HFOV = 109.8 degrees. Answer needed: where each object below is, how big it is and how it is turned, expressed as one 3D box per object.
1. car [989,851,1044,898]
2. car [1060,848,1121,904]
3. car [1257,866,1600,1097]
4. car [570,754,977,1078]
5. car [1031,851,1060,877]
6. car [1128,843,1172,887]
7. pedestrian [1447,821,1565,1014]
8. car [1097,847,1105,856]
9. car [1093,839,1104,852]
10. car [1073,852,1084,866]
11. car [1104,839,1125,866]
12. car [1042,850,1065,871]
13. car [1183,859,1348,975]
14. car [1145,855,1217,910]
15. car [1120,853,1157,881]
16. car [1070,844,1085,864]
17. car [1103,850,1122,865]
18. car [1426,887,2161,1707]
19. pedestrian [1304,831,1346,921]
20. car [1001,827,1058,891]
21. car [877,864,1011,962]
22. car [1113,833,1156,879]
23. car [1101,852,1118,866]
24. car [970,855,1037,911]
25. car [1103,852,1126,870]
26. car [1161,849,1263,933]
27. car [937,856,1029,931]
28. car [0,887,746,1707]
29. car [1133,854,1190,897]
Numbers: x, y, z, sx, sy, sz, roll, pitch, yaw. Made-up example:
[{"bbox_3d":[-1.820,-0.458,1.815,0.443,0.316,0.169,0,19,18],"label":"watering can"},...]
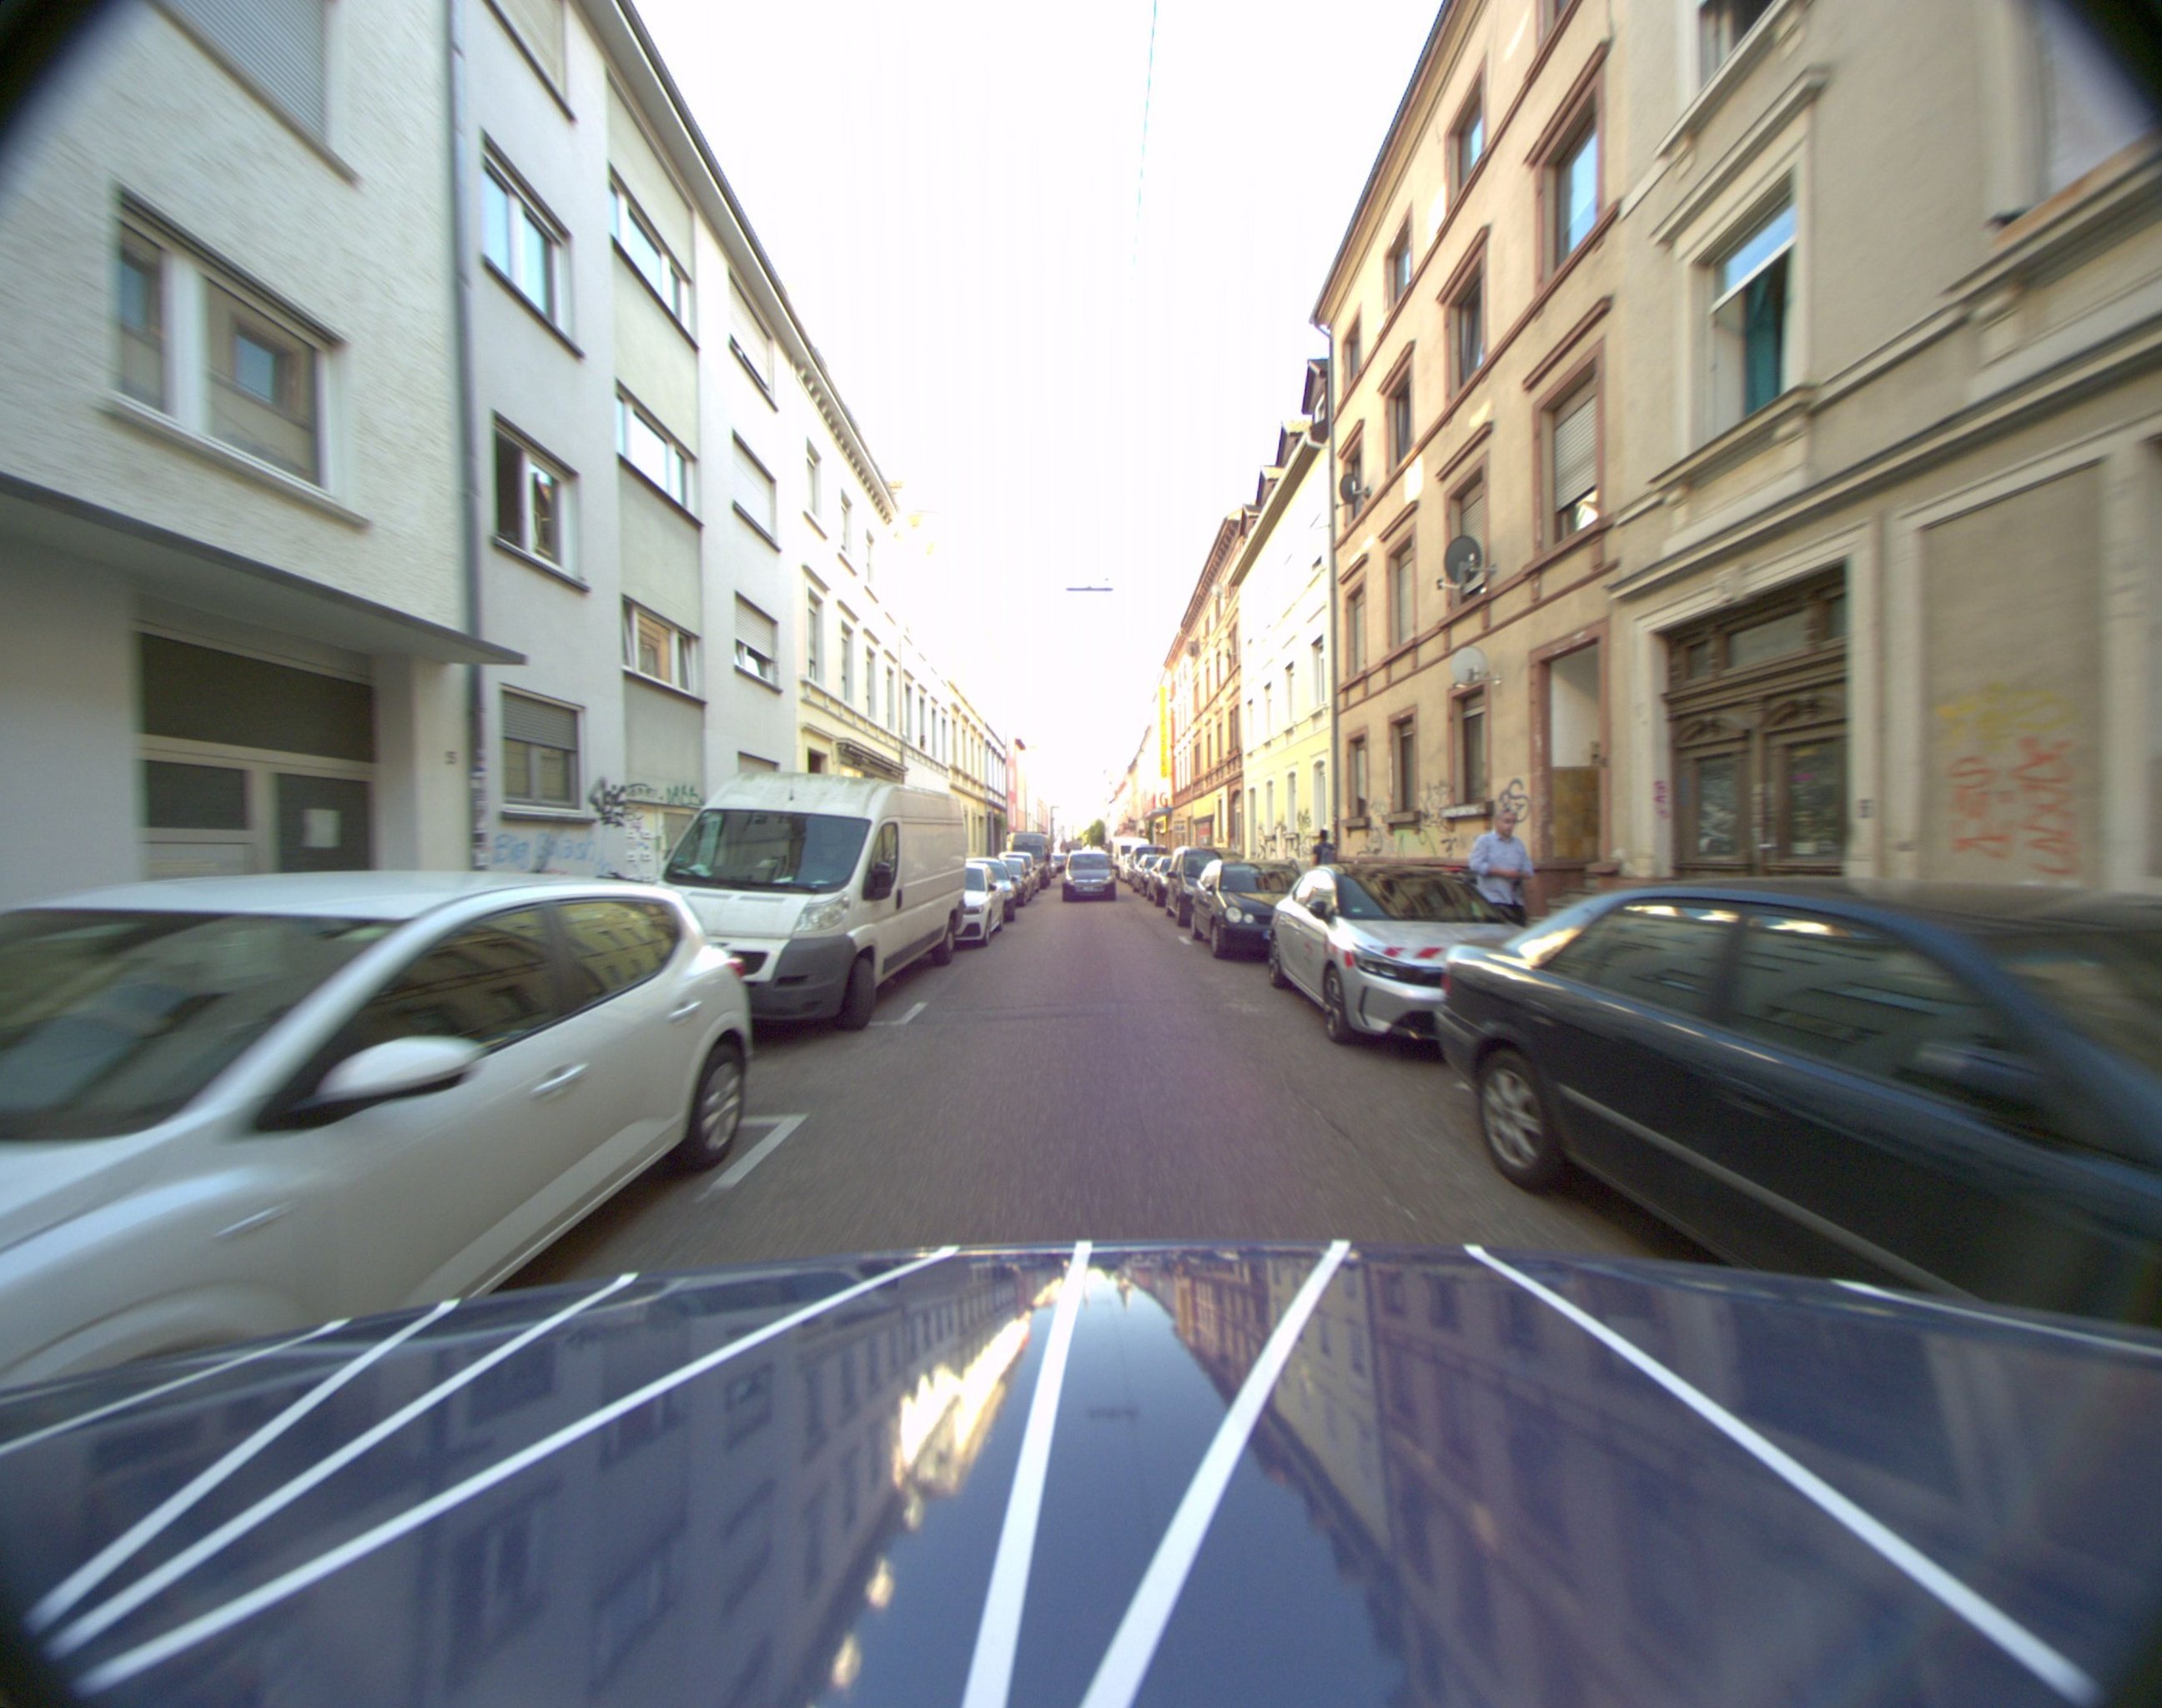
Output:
[{"bbox_3d":[-2.429,0.743,29.352,1.683,1.626,3.859,-2,0,0],"label":"car"},{"bbox_3d":[0.293,0.668,26.037,1.798,1.652,5.183,-3,0,0],"label":"car"},{"bbox_3d":[2.785,0.896,7.059,1.683,1.454,3.861,-1,0,5],"label":"car"},{"bbox_3d":[-2.858,0.480,9.046,2.050,2.498,6.023,-2,0,3],"label":"car"},{"bbox_3d":[-2.292,0.642,50.018,1.683,1.588,3.859,-2,0,0],"label":"car"},{"bbox_3d":[3.117,0.451,35.088,1.751,1.880,4.771,-1,0,3],"label":"car"},{"bbox_3d":[4.228,0.613,7.591,0.790,1.820,0.594,-2,1,1],"label":"pedestrian"},{"bbox_3d":[4.319,-0.590,166.464,1.683,1.851,4.158,-2,0,0],"label":"car"},{"bbox_3d":[4.537,-2.165,196.534,2.565,3.030,7.061,-2,0,0],"label":"car"},{"bbox_3d":[-0.342,0.772,124.219,1.683,2.078,4.158,-2,1,0],"label":"car"},{"bbox_3d":[2.913,-0.152,67.300,1.683,2.352,4.098,-1,1,1],"label":"car"},{"bbox_3d":[-2.243,0.491,62.843,1.683,1.588,3.859,-2,0,0],"label":"car"},{"bbox_3d":[2.694,0.847,11.952,1.683,1.454,3.859,-1,0,1],"label":"car"},{"bbox_3d":[2.907,0.797,22.845,1.683,1.448,3.859,-1,0,1],"label":"car"},{"bbox_3d":[2.981,0.657,39.952,1.683,1.381,3.859,-1,0,1],"label":"car"},{"bbox_3d":[-0.519,-0.003,131.273,2.437,3.404,5.542,-2,1,0],"label":"car"},{"bbox_3d":[3.000,0.297,73.353,1.683,1.381,3.859,-1,0,1],"label":"car"},{"bbox_3d":[2.687,0.934,1.949,1.683,1.454,4.312,-1,0,1],"label":"car"},{"bbox_3d":[5.089,0.456,15.891,0.626,1.820,0.594,-2,1,1],"label":"pedestrian"},{"bbox_3d":[-2.291,0.186,35.517,2.050,2.662,6.185,-2,0,1],"label":"car"},{"bbox_3d":[-2.371,0.969,14.080,1.683,1.434,3.859,-2,0,1],"label":"car"},{"bbox_3d":[3.148,0.077,45.987,2.094,2.576,5.842,-1,1,0],"label":"car"},{"bbox_3d":[3.040,0.526,82.318,1.683,1.381,3.859,-1,0,1],"label":"car"},{"bbox_3d":[-2.368,0.844,24.068,1.683,1.511,3.859,-3,0,0],"label":"car"},{"bbox_3d":[2.632,0.522,60.325,1.683,1.381,3.859,-1,0,1],"label":"car"},{"bbox_3d":[2.844,0.733,17.283,1.683,1.674,3.859,-1,1,1],"label":"car"},{"bbox_3d":[-2.322,0.884,18.906,1.683,1.556,3.860,-2,0,1],"label":"car"},{"bbox_3d":[-2.623,0.999,2.165,1.684,1.550,3.859,-3,0,-2],"label":"car"},{"bbox_3d":[2.854,0.741,27.719,1.683,1.407,3.859,-1,0,1],"label":"car"}]
